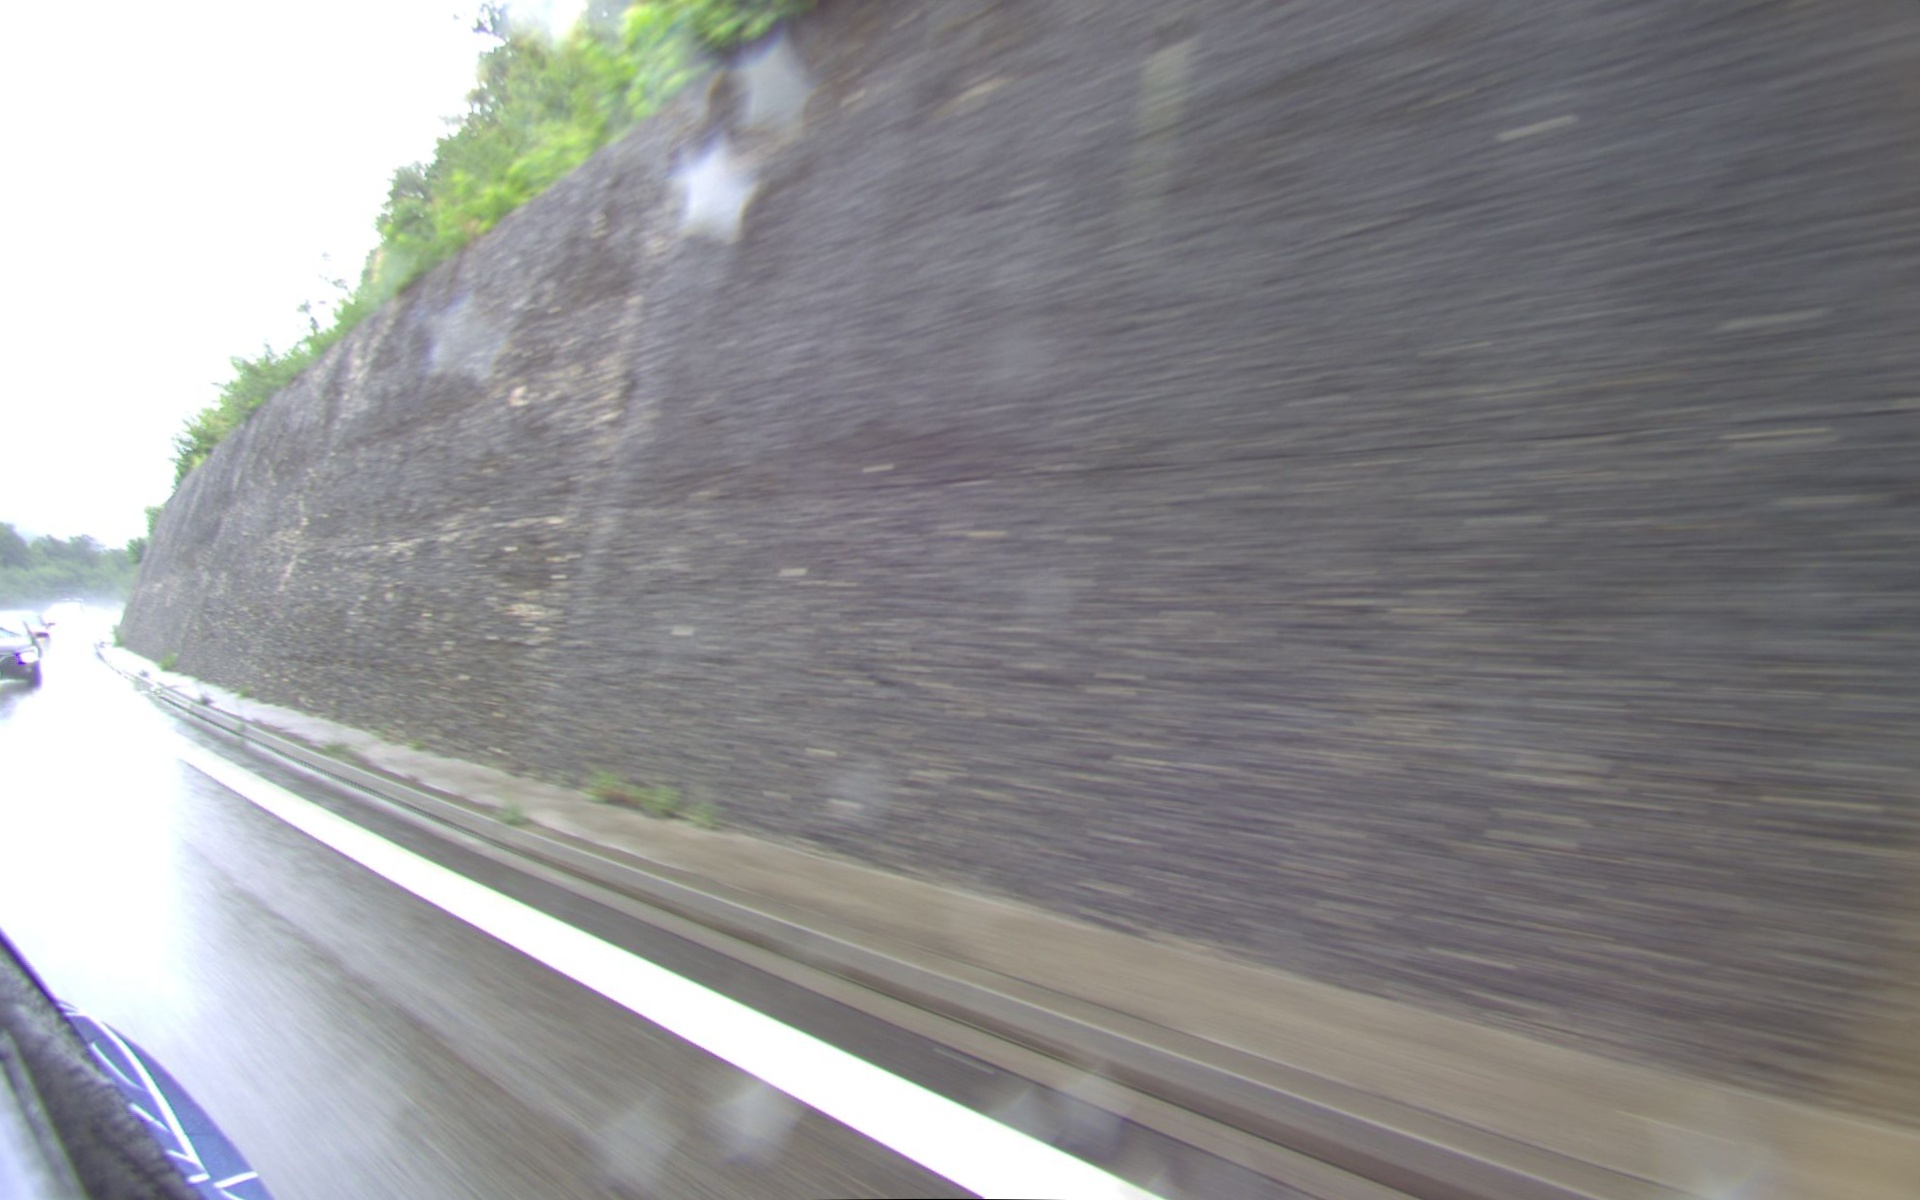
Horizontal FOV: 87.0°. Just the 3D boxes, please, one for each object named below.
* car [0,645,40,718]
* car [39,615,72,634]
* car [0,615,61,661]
[{"bbox_3d":[-20.220,1.650,20.754,4.002,1.394,1.802,-3,-3,45],"label":"car"},{"bbox_3d":[-71.699,1.929,80.288,1.800,1.393,4.006,-3,2,-40],"label":"car"},{"bbox_3d":[-31.774,1.243,34.332,1.801,1.393,4.004,-3,2,-42],"label":"car"}]
